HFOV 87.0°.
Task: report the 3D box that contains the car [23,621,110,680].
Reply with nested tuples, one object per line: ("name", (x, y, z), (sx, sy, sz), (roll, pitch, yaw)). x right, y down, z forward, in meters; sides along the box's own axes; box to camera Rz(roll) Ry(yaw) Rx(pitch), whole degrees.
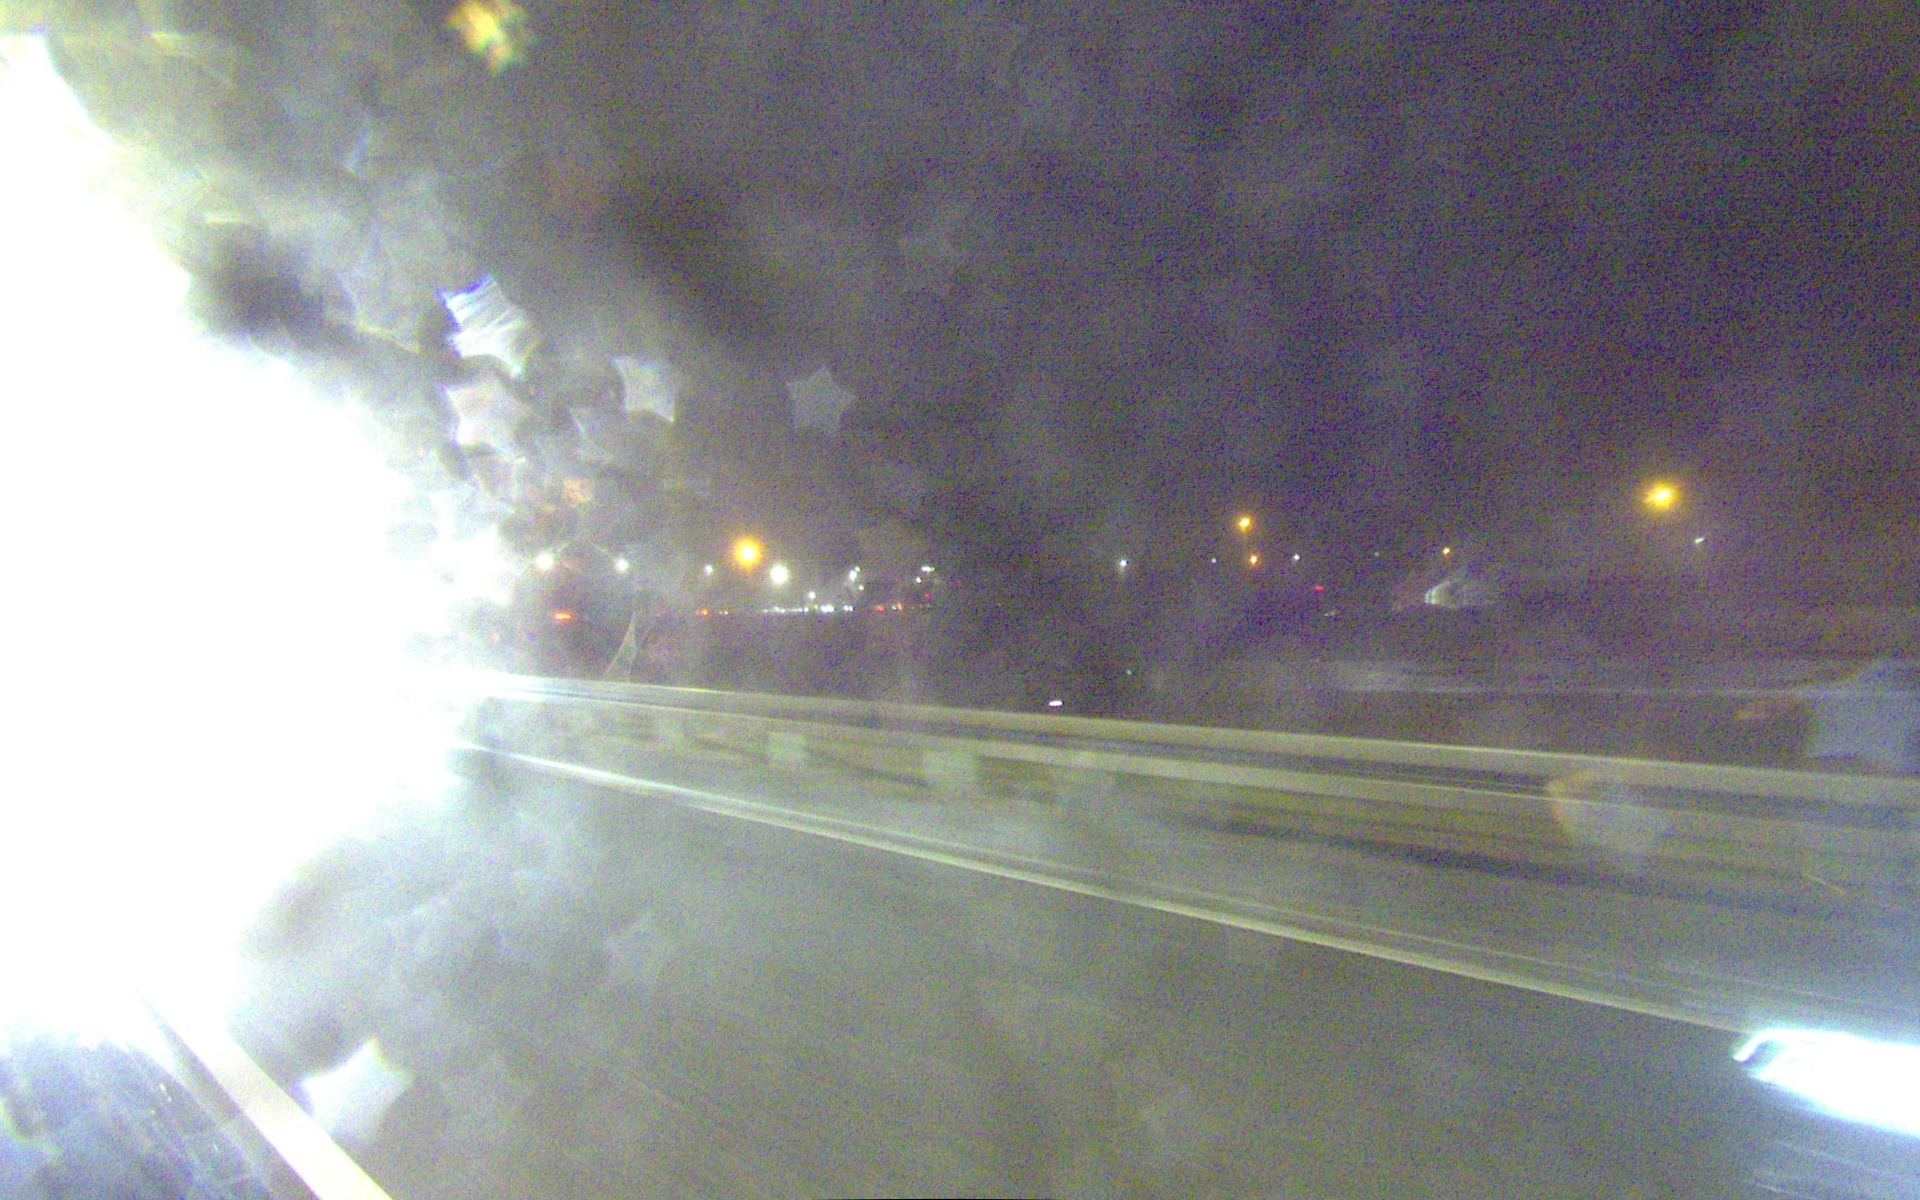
("car", (-32.056, 1.776, 36.417), (1.967, 1.949, 4.009), (0, -1, -36))

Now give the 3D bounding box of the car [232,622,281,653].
("car", (-47.120, 2.514, 67.855), (1.965, 1.949, 4.013), (-1, -1, -24))

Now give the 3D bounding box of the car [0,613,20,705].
("car", (-21.122, 1.252, 21.036), (1.906, 1.887, 4.008), (0, -1, -37))

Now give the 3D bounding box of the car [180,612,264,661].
("car", (-32.776, 1.583, 45.098), (2.415, 2.003, 5.510), (-1, -1, -30))

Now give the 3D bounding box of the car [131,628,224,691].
("car", (-19.494, 1.423, 25.315), (1.706, 1.415, 3.871), (0, -1, -37))

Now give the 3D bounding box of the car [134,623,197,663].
("car", (-41.160, 2.205, 52.528), (1.966, 1.949, 4.012), (-1, -1, -29))
